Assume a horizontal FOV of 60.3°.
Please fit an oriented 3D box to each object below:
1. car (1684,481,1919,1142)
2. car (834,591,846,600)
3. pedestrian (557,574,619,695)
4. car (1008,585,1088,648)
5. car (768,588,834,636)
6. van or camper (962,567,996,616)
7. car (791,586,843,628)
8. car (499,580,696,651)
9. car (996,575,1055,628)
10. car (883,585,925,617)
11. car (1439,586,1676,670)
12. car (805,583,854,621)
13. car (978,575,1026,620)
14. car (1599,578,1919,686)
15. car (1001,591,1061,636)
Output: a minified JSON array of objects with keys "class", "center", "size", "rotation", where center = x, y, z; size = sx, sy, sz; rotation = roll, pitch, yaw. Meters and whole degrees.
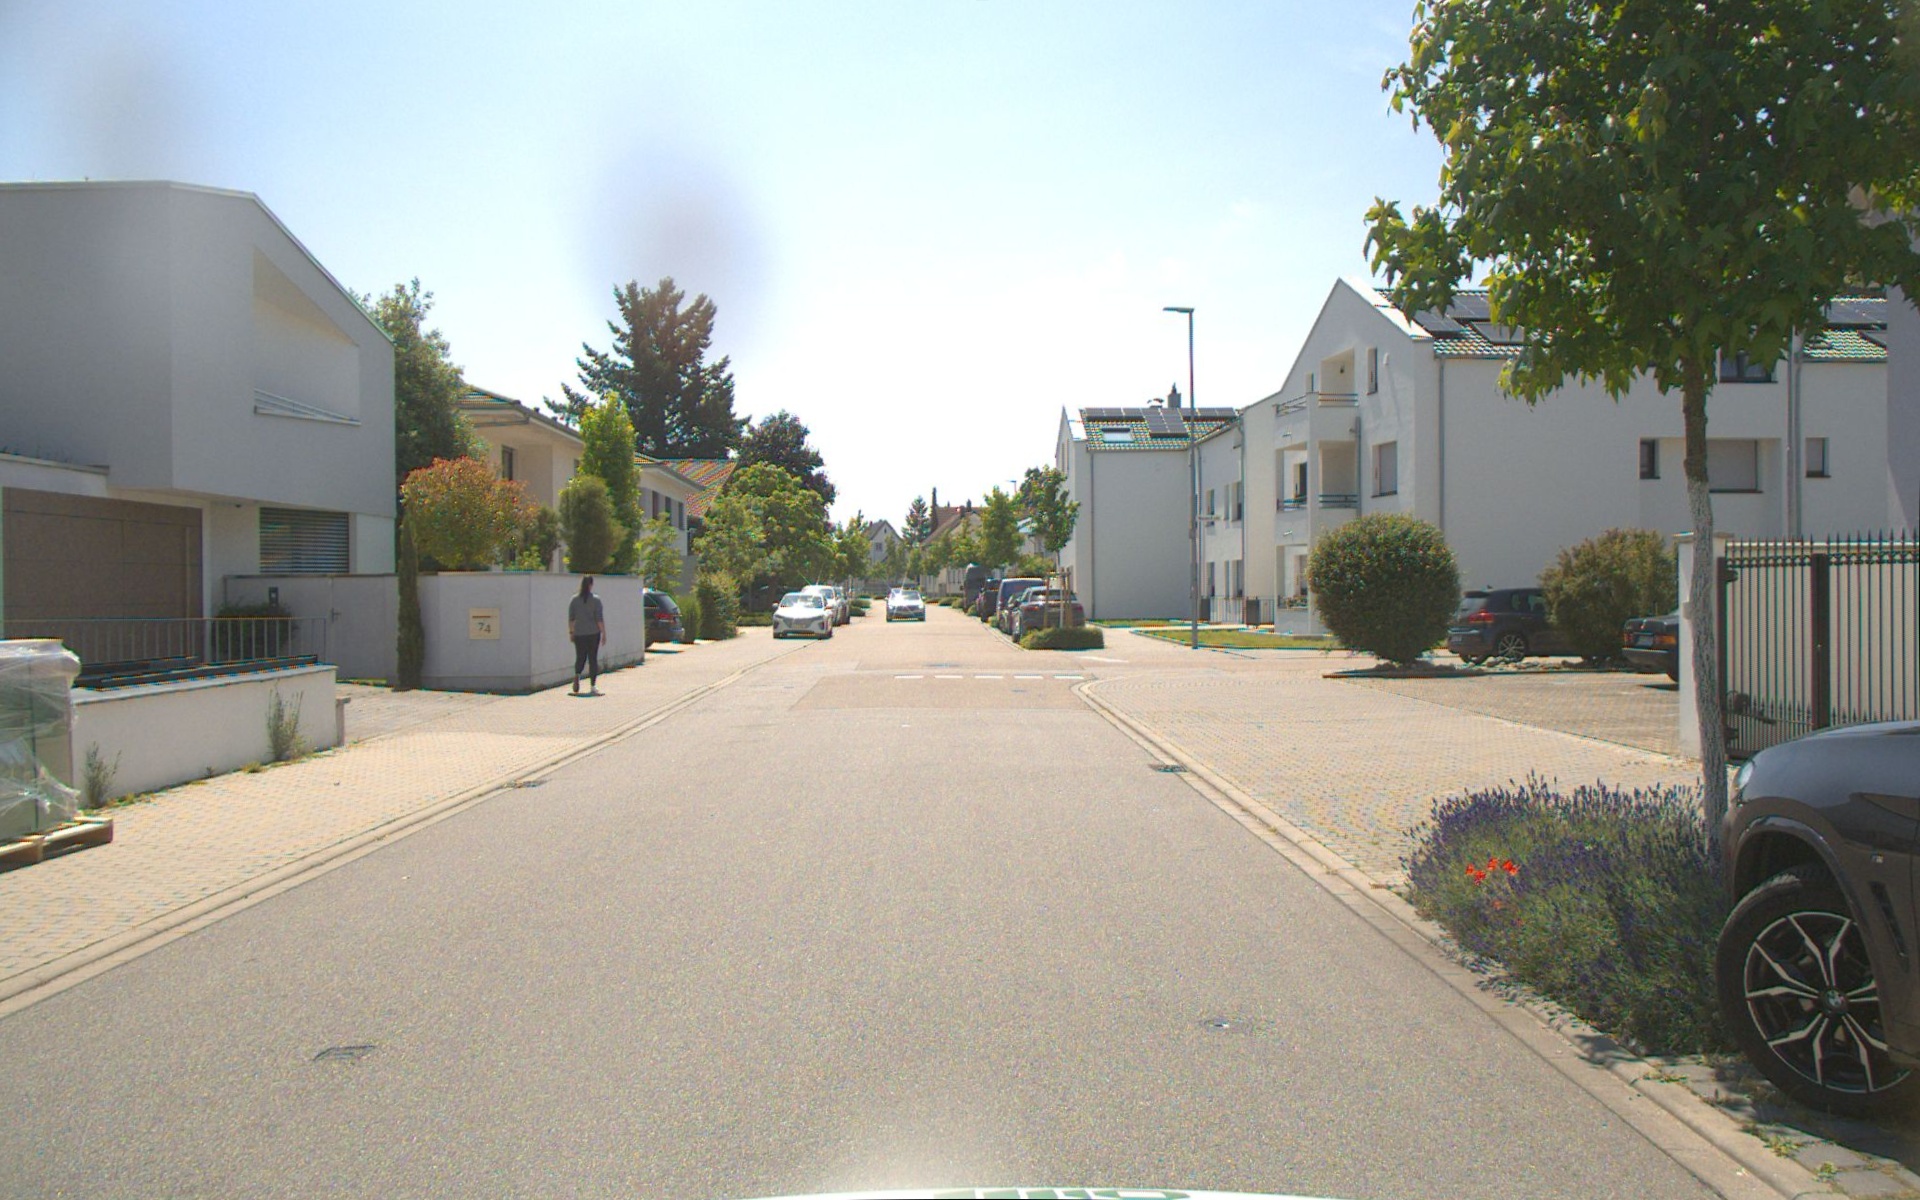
[{"class":"car","center":[3.332,0.546,3.285],"size":[1.777,1.685,4.564],"rotation":[-1,1,0]},{"class":"car","center":[-18.566,-0.734,256.974],"size":[1.629,1.272,3.931],"rotation":[-1,0,-1]},{"class":"pedestrian","center":[-5.606,0.503,24.960],"size":[0.700,1.777,0.960],"rotation":[-1,0,-1]},{"class":"car","center":[2.433,0.424,46.633],"size":[1.738,1.623,4.276],"rotation":[-2,1,-3]},{"class":"car","center":[-5.246,0.375,55.064],"size":[1.814,1.514,4.384],"rotation":[-1,0,-1]},{"class":"van or camper","center":[1.149,-0.542,102.610],"size":[1.953,2.993,3.999],"rotation":[0,0,-1]},{"class":"car","center":[-6.053,0.255,70.368],"size":[1.888,1.716,4.497],"rotation":[-1,0,-1]},{"class":"car","center":[-8.899,0.360,40.827],"size":[4.336,1.499,1.851],"rotation":[3,0,3]},{"class":"car","center":[2.480,0.049,63.427],"size":[2.056,1.915,4.842],"rotation":[-1,0,0]},{"class":"car","center":[-2.705,0.040,81.151],"size":[1.815,1.504,4.700],"rotation":[-1,0,1]},{"class":"car","center":[11.338,0.513,31.565],"size":[3.908,1.493,1.757],"rotation":[-1,0,3]},{"class":"car","center":[-6.007,0.065,76.580],"size":[1.953,1.709,4.214],"rotation":[-1,0,-1]},{"class":"car","center":[1.922,-0.137,77.066],"size":[1.953,1.981,5.214],"rotation":[-2,0,-1]},{"class":"car","center":[11.324,0.418,23.179],"size":[4.119,1.398,1.663],"rotation":[-1,1,-5]},{"class":"car","center":[2.402,0.434,56.738],"size":[1.646,1.467,4.024],"rotation":[-1,0,-3]}]
